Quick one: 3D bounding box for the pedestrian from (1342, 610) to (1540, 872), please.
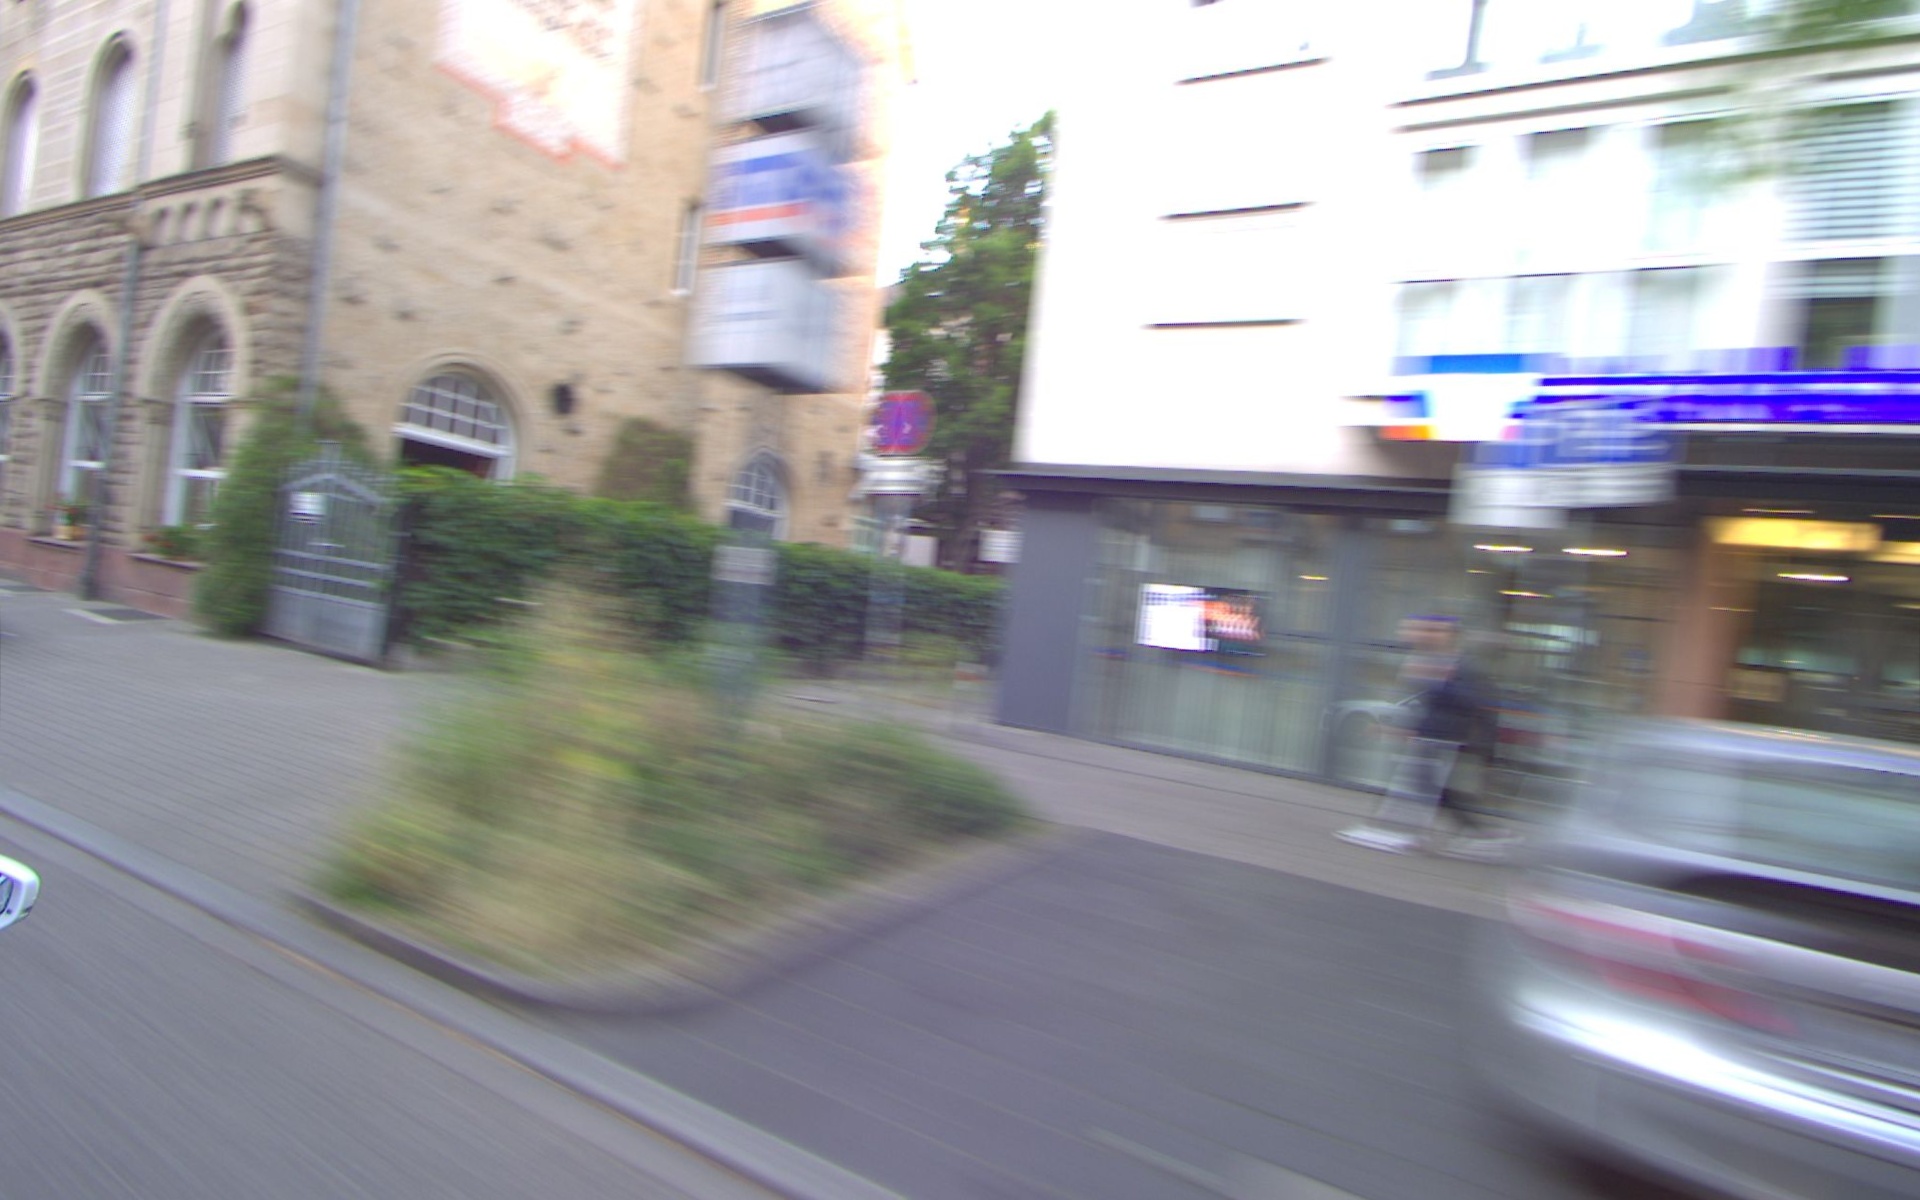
[{"bbox_3d":[3.500,0.991,7.403,0.945,1.738,0.729,6,2,4],"label":"pedestrian"}]

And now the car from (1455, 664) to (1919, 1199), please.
[{"bbox_3d":[3.197,1.133,3.857,1.851,1.471,4.088,7,2,31],"label":"car"}]

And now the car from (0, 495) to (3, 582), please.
[{"bbox_3d":[-11.456,-0.518,9.984,4.402,1.448,1.676,7,3,30],"label":"car"}]
